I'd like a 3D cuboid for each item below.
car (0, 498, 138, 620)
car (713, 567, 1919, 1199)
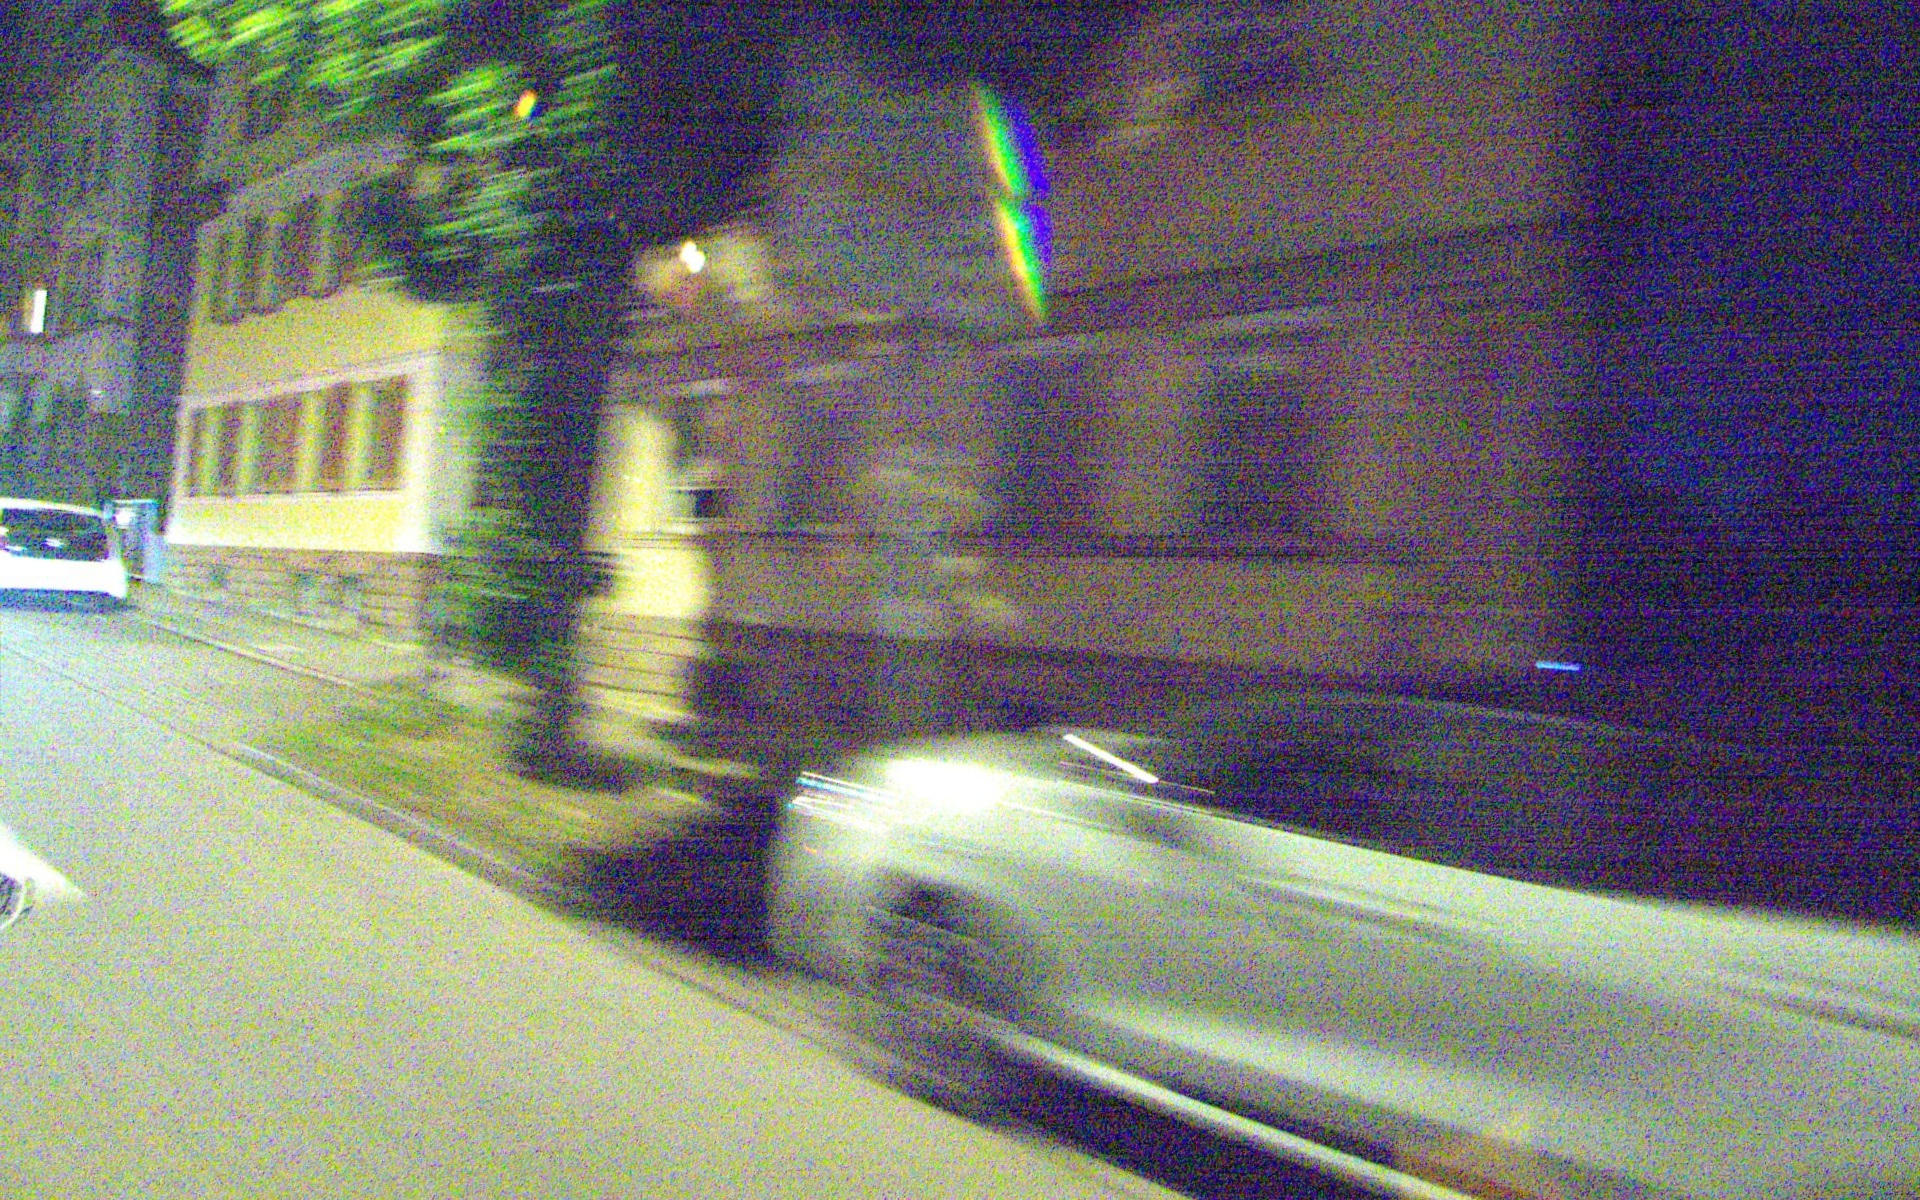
[{"bbox_3d":[-13.560,-0.678,14.502,3.546,1.503,1.668,7,1,34],"label":"car"},{"bbox_3d":[1.352,0.909,3.240,3.980,1.573,1.860,7,1,33],"label":"car"}]
